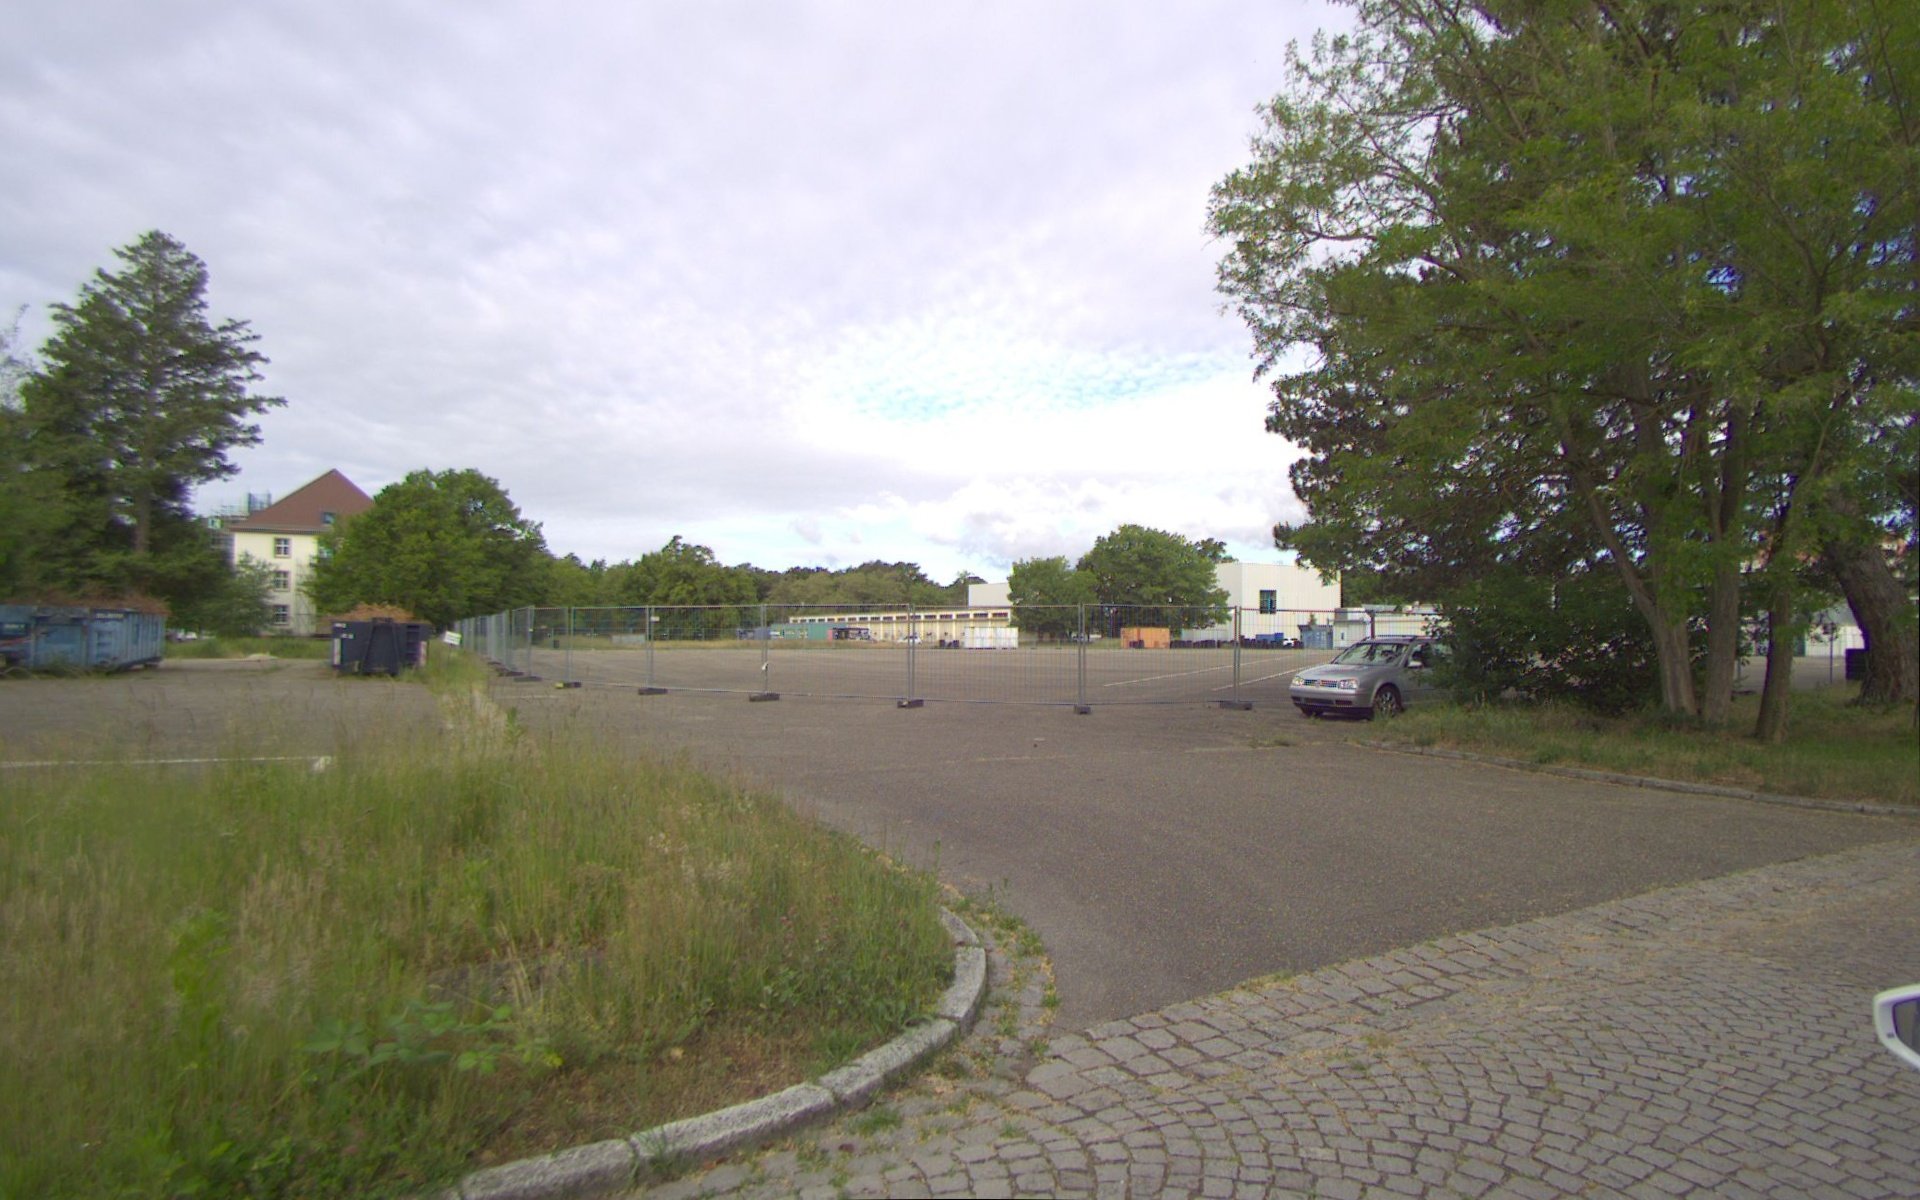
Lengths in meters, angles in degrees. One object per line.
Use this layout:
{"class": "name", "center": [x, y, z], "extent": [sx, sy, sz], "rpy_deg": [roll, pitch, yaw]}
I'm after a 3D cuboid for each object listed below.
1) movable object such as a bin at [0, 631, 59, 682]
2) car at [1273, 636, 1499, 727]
{"class": "movable object such as a bin", "center": [-22.379, 1.289, 23.131], "extent": [2.242, 1.140, 0.852], "rpy_deg": [2, -2, -30]}
{"class": "car", "center": [7.856, 1.411, 18.452], "extent": [4.112, 1.451, 1.722], "rpy_deg": [0, -1, -30]}
